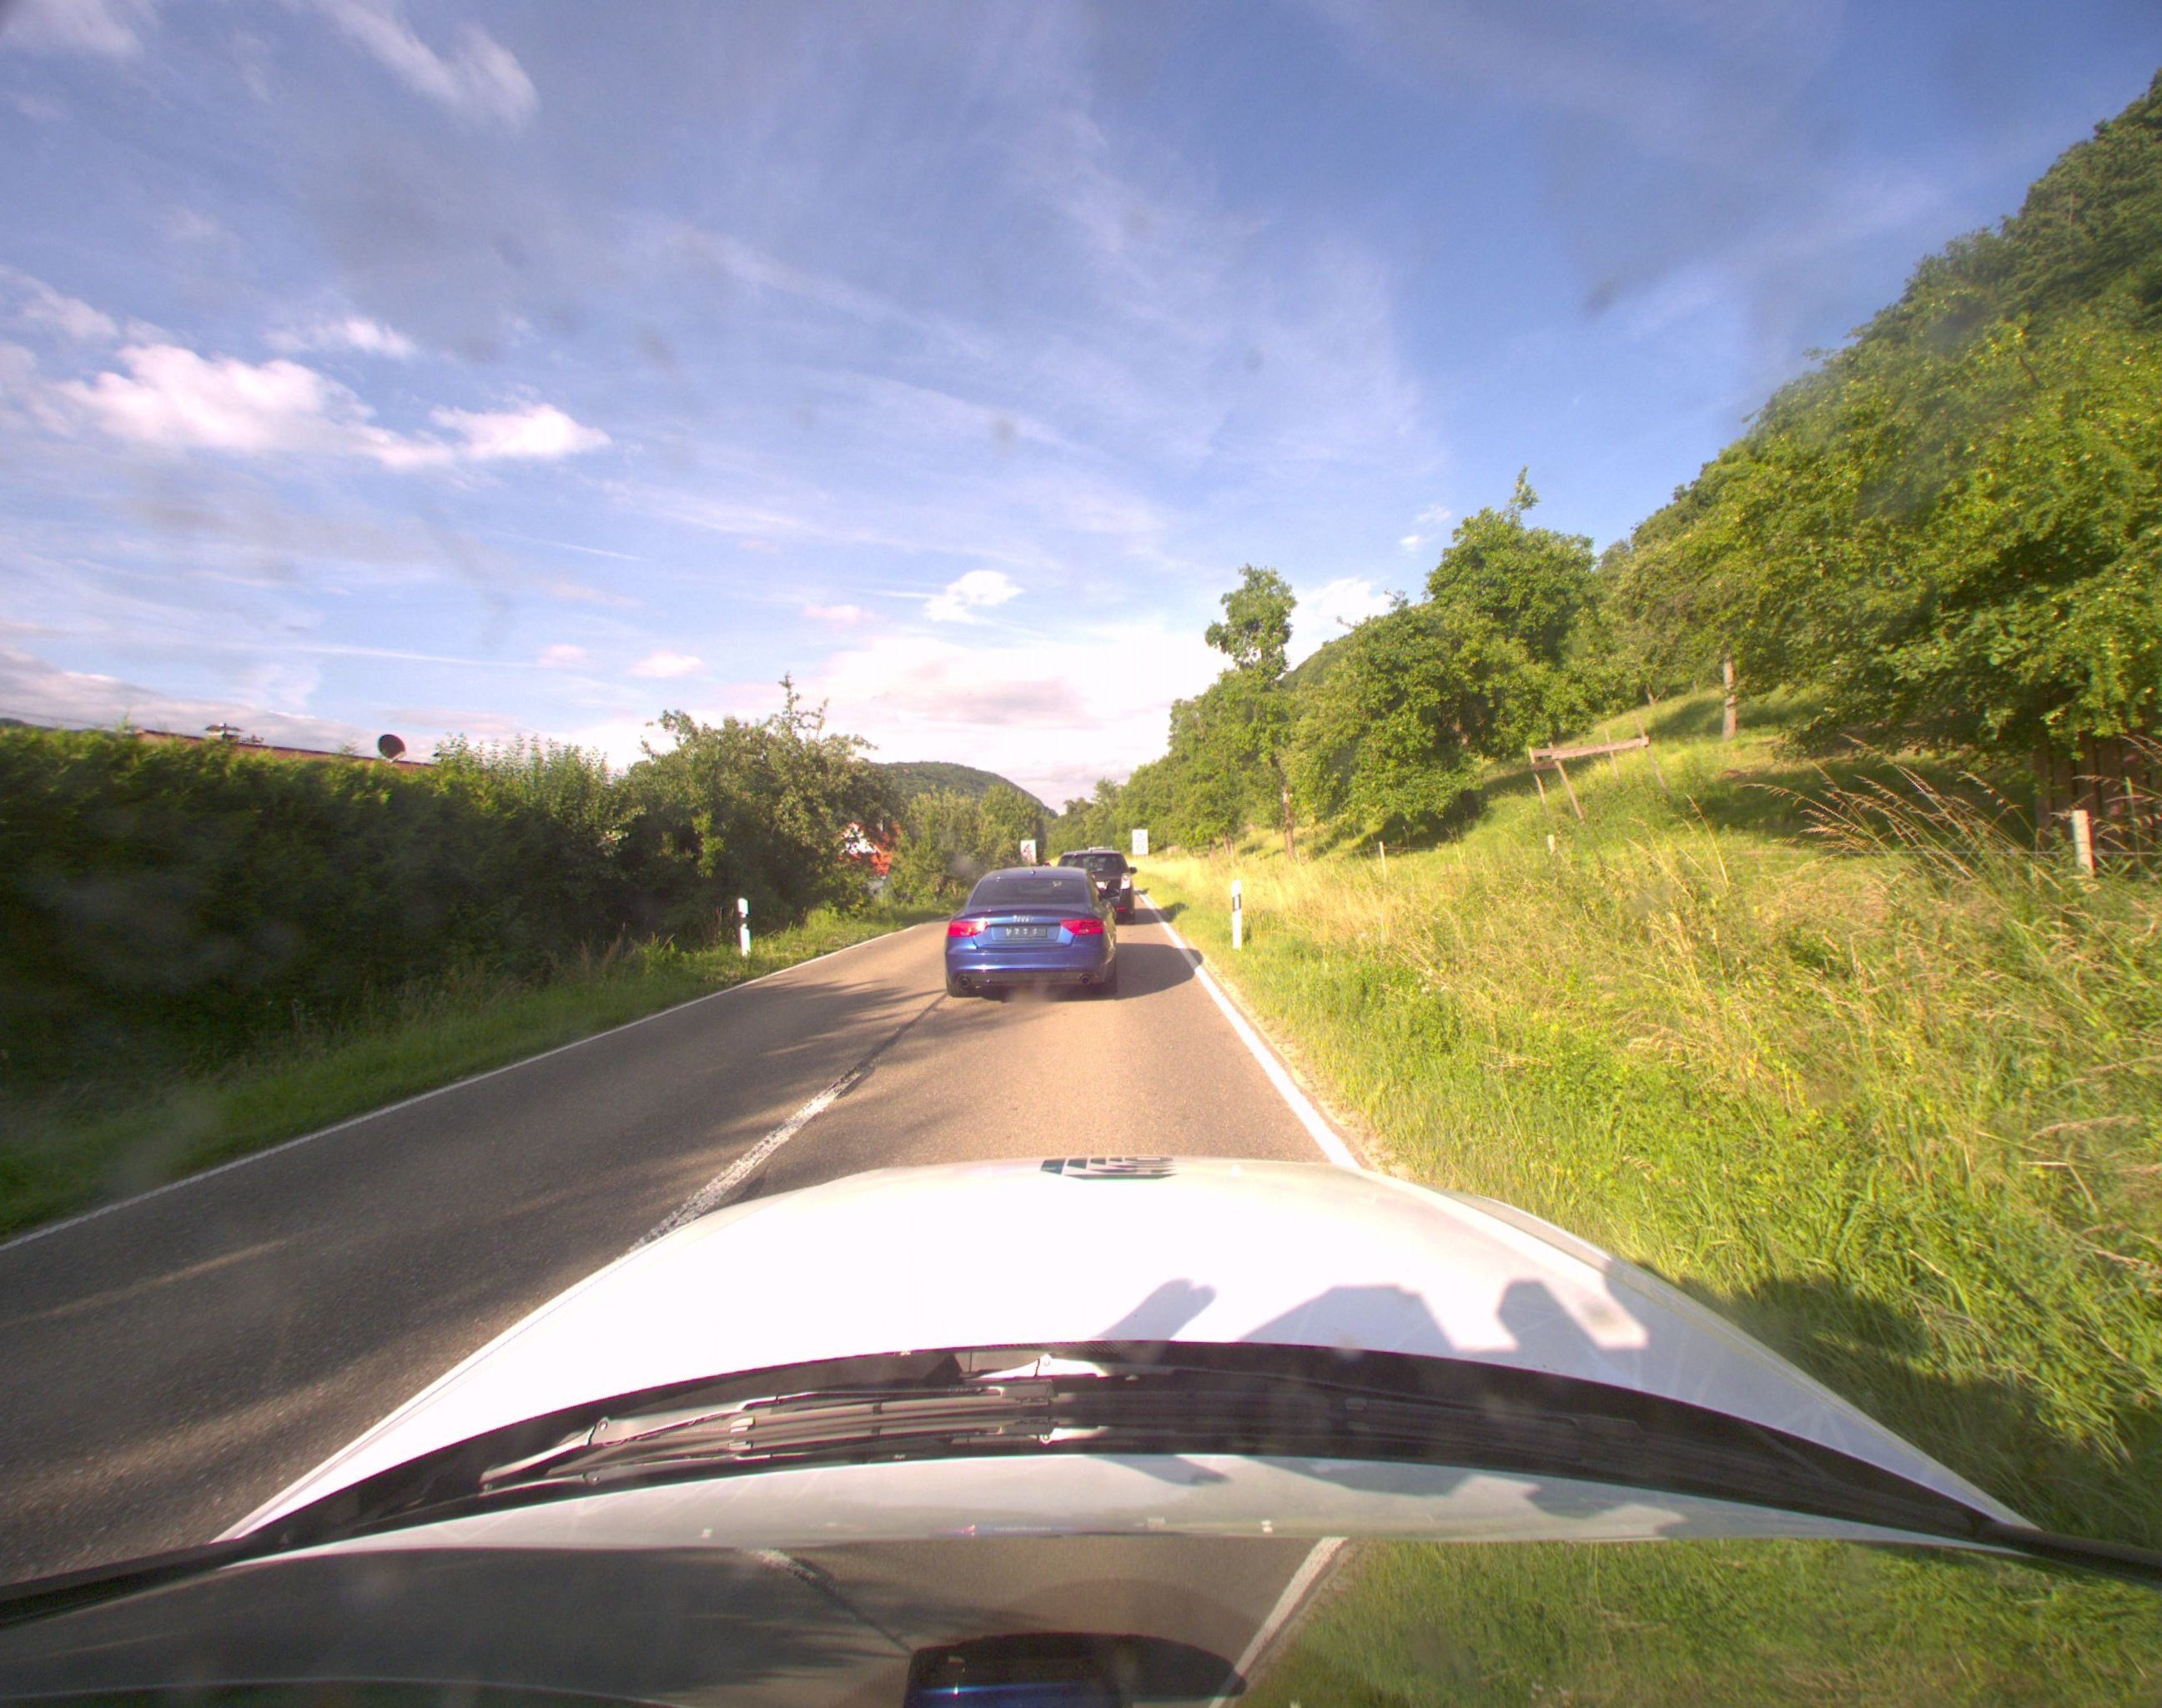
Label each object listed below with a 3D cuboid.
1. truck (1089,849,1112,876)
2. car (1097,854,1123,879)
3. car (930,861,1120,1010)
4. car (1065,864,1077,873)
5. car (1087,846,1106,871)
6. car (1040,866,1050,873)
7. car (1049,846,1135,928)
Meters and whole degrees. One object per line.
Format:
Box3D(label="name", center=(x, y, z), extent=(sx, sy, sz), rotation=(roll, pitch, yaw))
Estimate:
Box3D(label="truck", center=(1.724, 0.729, 71.181), extent=(1.943, 2.345, 5.095), rotation=(0, 0, 1))
Box3D(label="car", center=(2.000, 0.852, 56.178), extent=(1.686, 1.624, 3.790), rotation=(-1, 0, 2))
Box3D(label="car", center=(-0.458, 0.804, 9.903), extent=(1.799, 1.382, 4.217), rotation=(-1, -1, 2))
Box3D(label="car", center=(-1.726, 2.407, 138.772), extent=(1.557, 1.496, 3.769), rotation=(0, 0, -7))
Box3D(label="car", center=(1.544, 0.434, 80.954), extent=(1.787, 2.453, 3.917), rotation=(0, 0, -1))
Box3D(label="car", center=(-7.452, 3.249, 169.813), extent=(1.559, 1.496, 3.764), rotation=(0, 0, -10))
Box3D(label="car", center=(0.280, 0.662, 18.328), extent=(1.686, 1.624, 3.790), rotation=(-1, 0, 2))
